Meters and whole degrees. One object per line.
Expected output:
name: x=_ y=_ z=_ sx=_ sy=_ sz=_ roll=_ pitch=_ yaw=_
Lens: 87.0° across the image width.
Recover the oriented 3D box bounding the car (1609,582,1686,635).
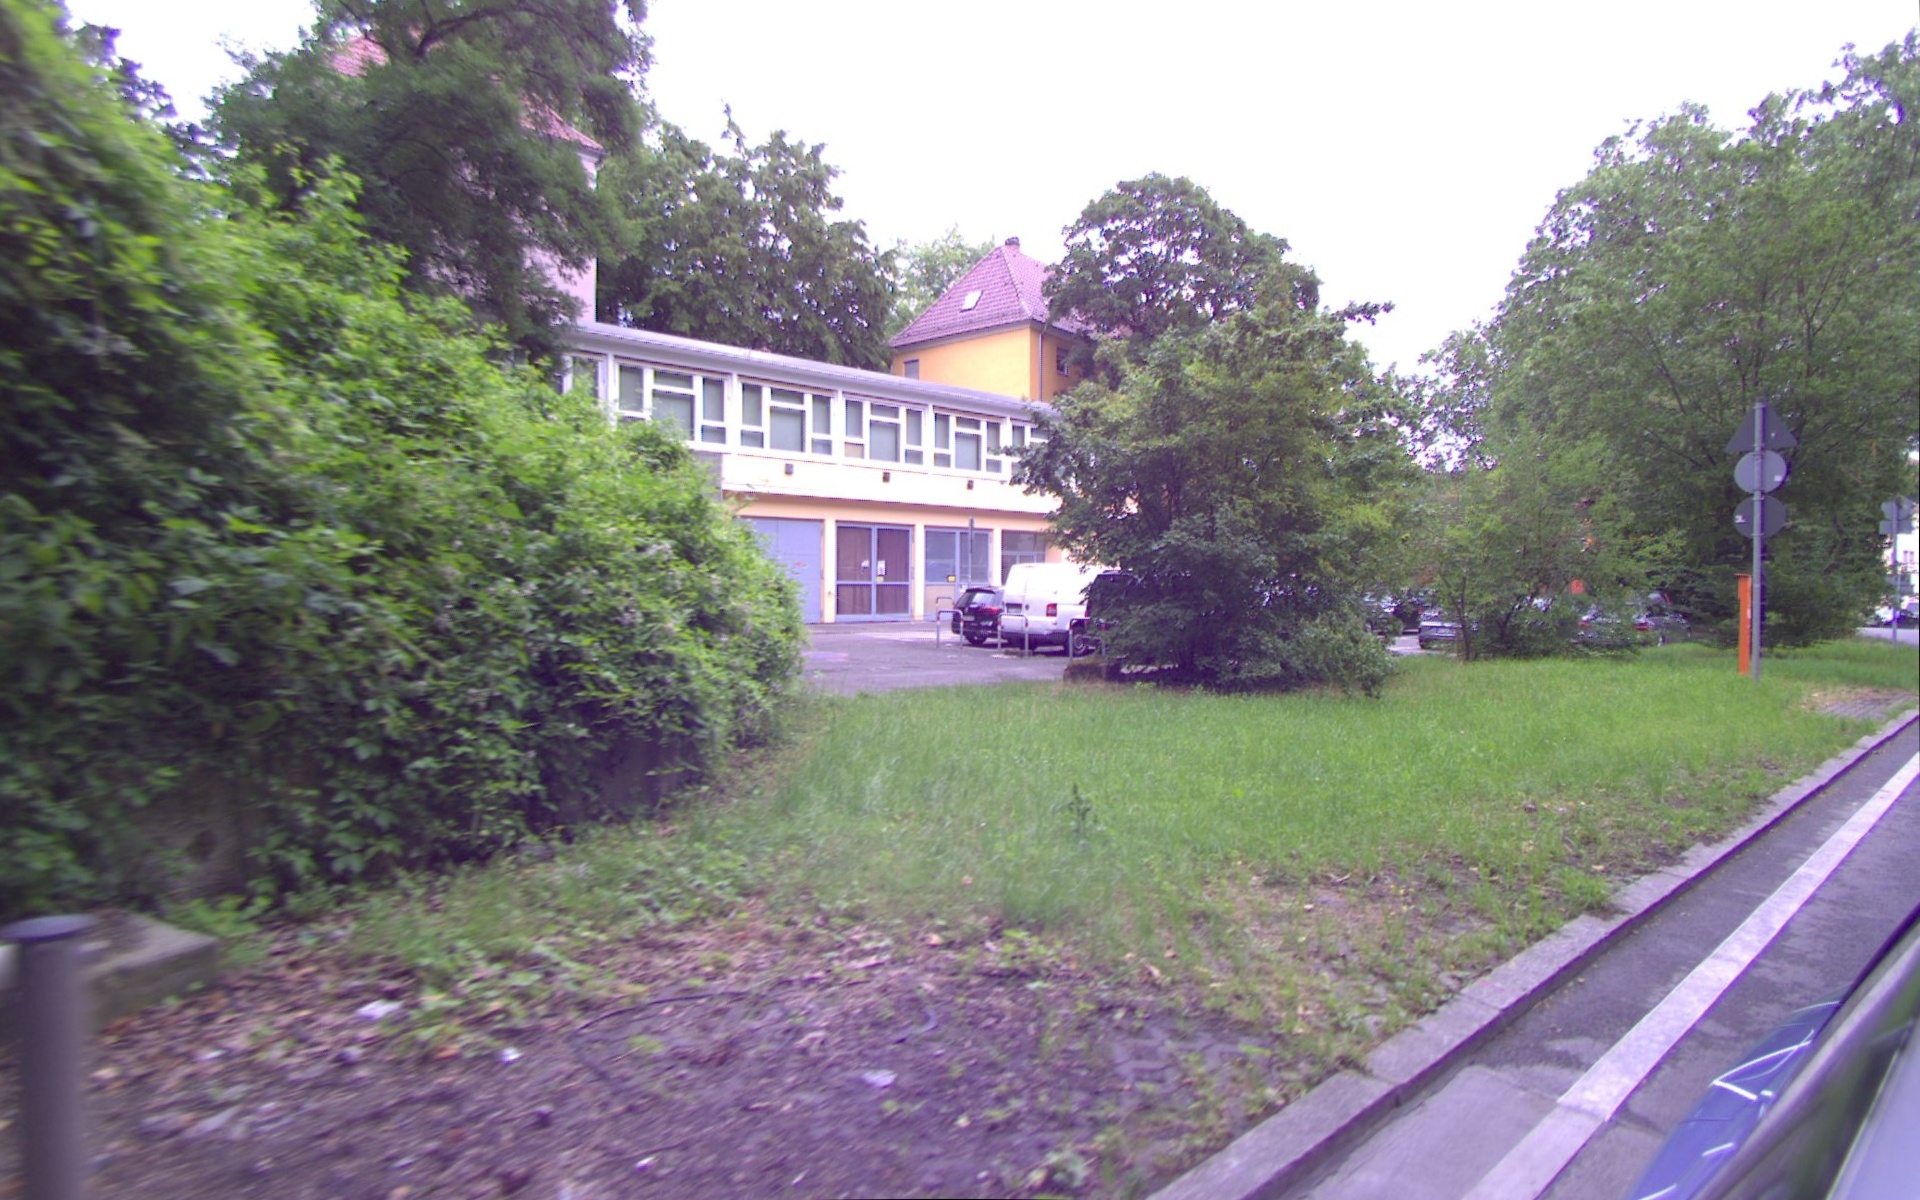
car: x=25.092 y=0.253 z=37.062 sx=1.799 sy=1.685 sz=4.836 roll=3 pitch=3 yaw=29

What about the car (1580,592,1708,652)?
car: x=19.113 y=0.573 z=28.187 sx=4.975 sy=1.460 sz=1.788 roll=1 pitch=1 yaw=-42

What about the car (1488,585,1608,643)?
car: x=17.679 y=0.386 z=30.345 sx=4.514 sy=1.577 sz=1.788 roll=1 pitch=1 yaw=-42

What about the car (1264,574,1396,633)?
car: x=11.165 y=0.116 z=30.462 sx=3.930 sy=1.460 sz=1.812 roll=5 pitch=-1 yaw=-36

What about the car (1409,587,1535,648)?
car: x=13.879 y=0.415 z=27.340 sx=3.831 sy=1.460 sz=1.746 roll=-1 pitch=2 yaw=-42

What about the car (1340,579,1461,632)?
car: x=14.637 y=0.179 z=33.545 sx=4.324 sy=1.614 sz=1.790 roll=1 pitch=1 yaw=-38

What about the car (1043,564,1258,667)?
car: x=4.044 y=0.253 z=20.997 sx=4.801 sy=1.902 sz=1.859 roll=0 pitch=1 yaw=-42

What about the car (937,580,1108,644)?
car: x=1.623 y=0.249 z=25.375 sx=4.250 sy=1.444 sz=1.799 roll=0 pitch=1 yaw=-41

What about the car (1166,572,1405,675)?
car: x=6.304 y=0.388 z=19.366 sx=4.792 sy=1.686 sz=1.815 roll=0 pitch=3 yaw=-36

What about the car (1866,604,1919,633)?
car: x=56.106 y=1.125 z=60.829 sx=3.469 sy=1.612 sz=1.785 roll=2 pitch=2 yaw=-38

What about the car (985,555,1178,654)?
car: x=2.852 y=0.057 z=23.136 sx=4.482 sy=2.039 sz=1.860 roll=0 pitch=1 yaw=-41
